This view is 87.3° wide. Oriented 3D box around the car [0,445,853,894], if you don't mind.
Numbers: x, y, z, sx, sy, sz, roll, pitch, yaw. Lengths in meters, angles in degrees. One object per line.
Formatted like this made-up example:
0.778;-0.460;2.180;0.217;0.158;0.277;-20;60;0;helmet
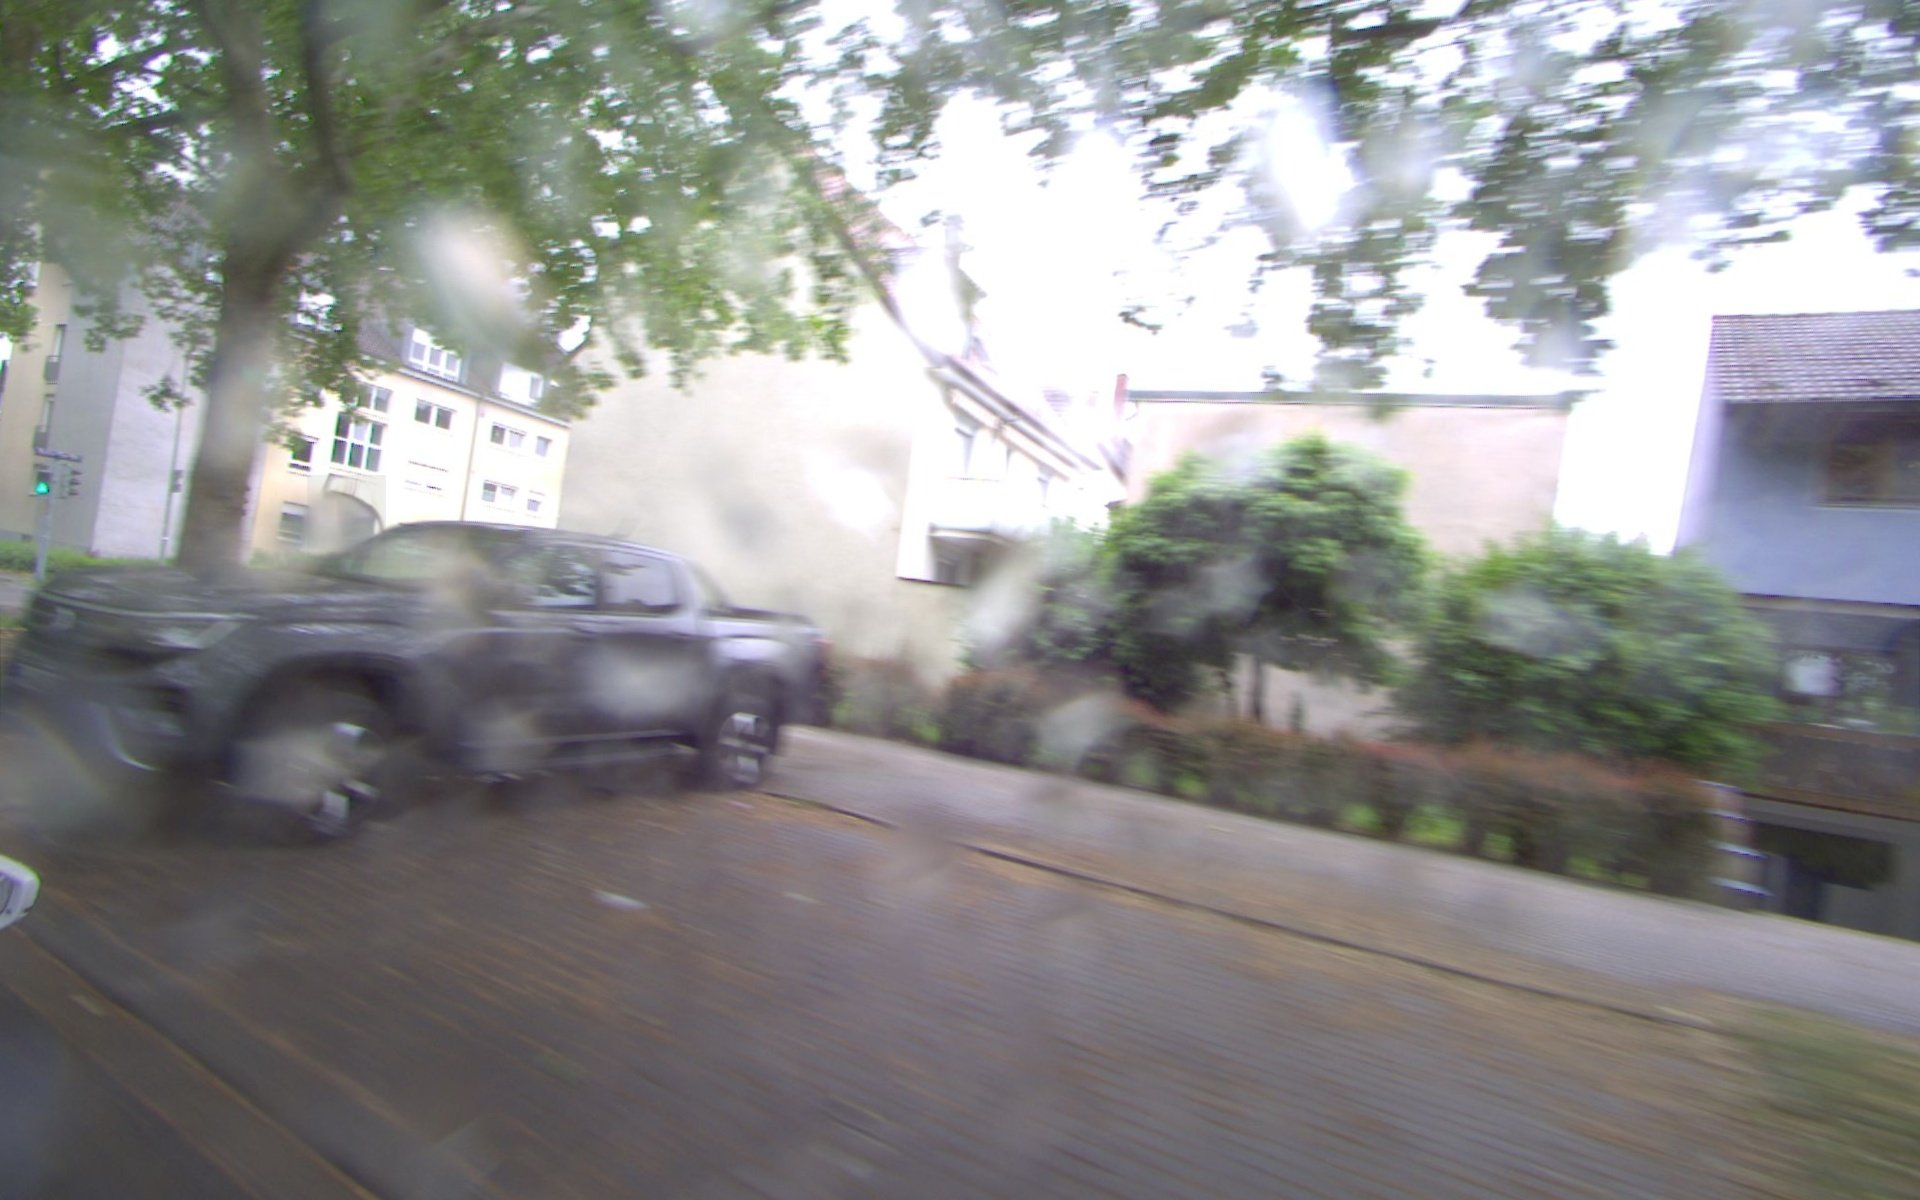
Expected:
-3.025;0.407;6.971;1.812;1.828;5.352;6;-1;26;car
